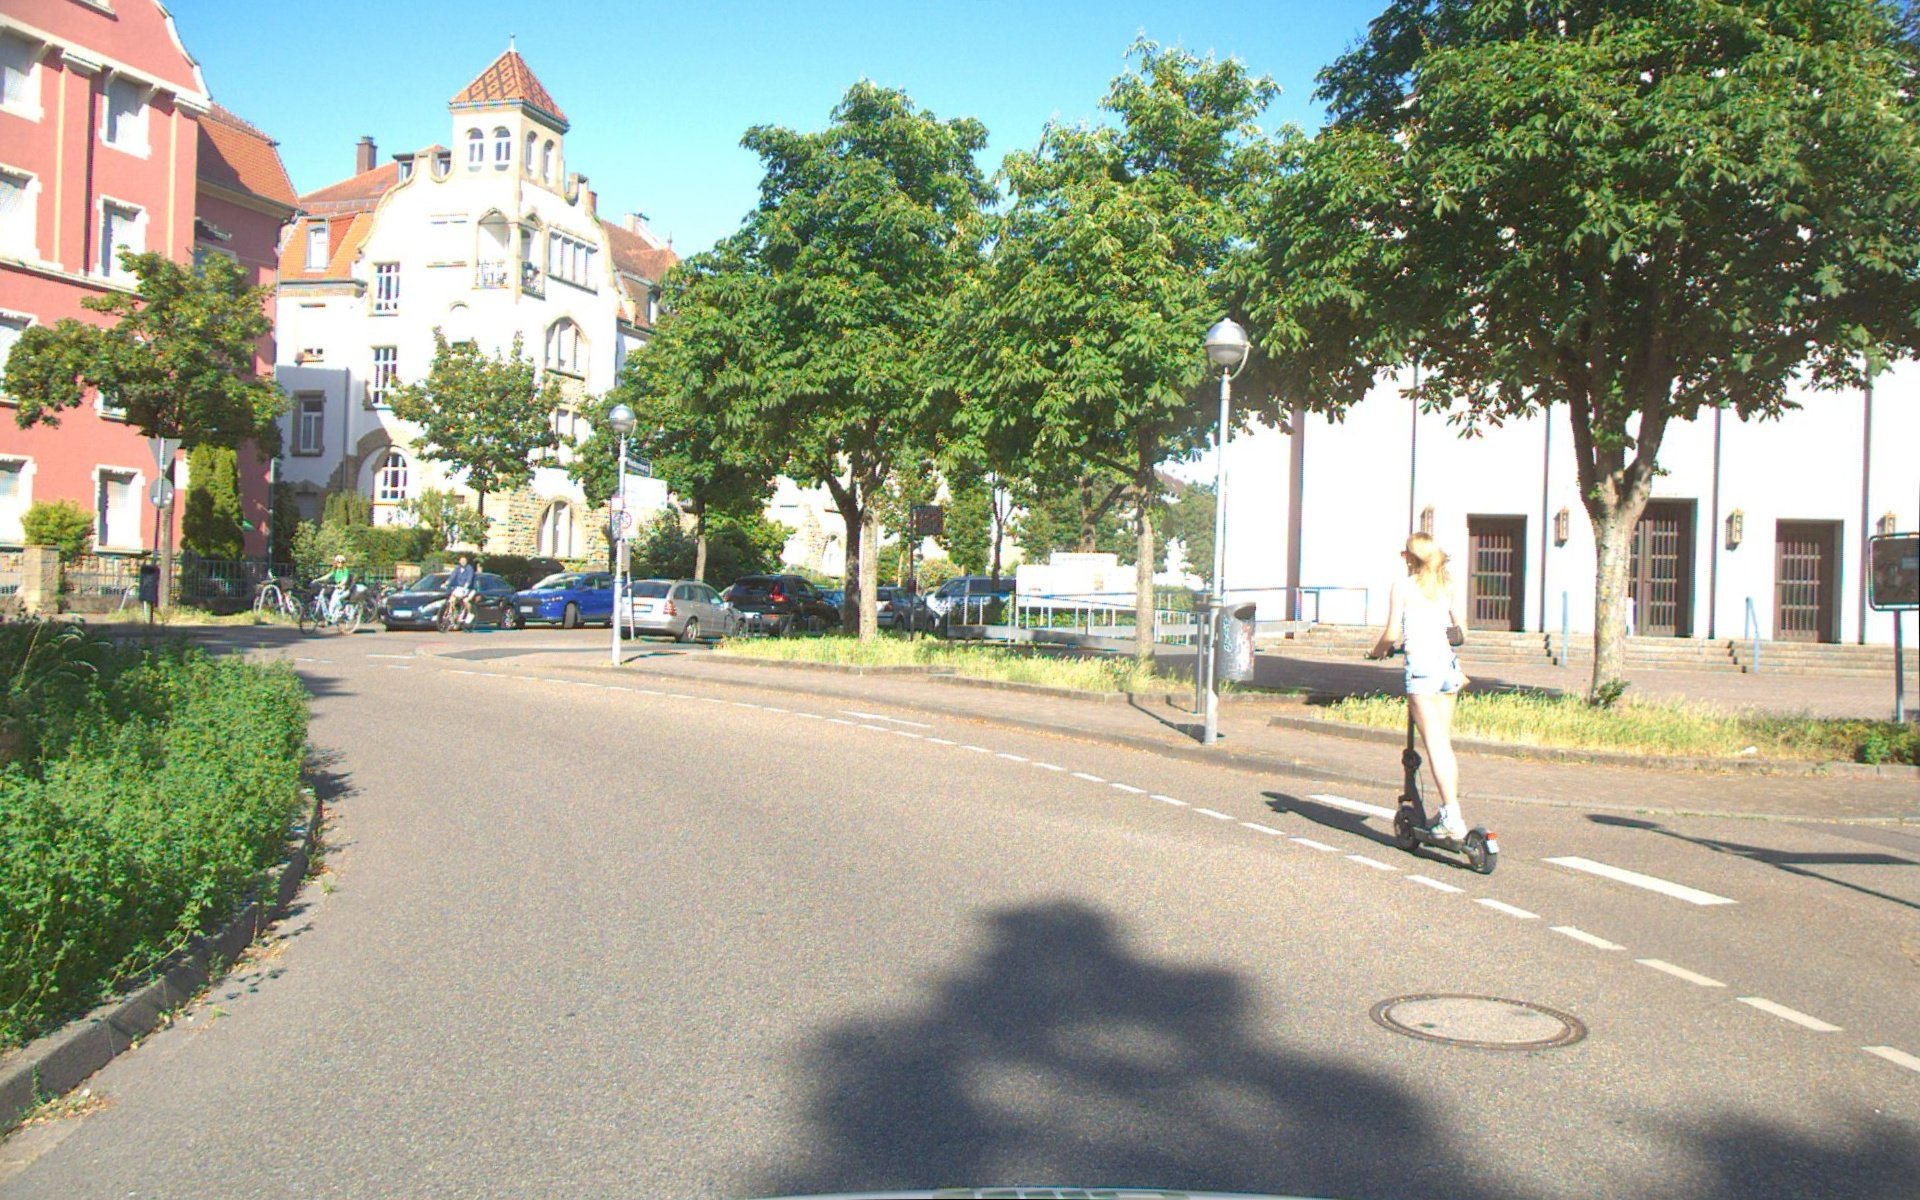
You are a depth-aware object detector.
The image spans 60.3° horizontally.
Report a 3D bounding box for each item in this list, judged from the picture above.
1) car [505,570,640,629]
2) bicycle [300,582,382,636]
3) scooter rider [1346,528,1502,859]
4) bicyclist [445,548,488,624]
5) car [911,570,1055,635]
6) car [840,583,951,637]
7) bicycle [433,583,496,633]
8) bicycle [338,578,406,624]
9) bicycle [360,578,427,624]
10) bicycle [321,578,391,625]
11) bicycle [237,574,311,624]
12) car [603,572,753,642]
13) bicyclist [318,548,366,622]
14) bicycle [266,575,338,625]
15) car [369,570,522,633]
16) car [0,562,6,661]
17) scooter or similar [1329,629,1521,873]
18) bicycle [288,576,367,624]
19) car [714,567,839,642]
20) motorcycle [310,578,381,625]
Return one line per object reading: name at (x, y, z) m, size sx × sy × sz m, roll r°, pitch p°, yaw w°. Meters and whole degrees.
car at (-11.099, -0.013, 47.636) m, size 1.766 × 1.589 × 4.401 m, roll -1°, pitch 0°, yaw 18°
bicycle at (-13.550, 0.194, 36.277) m, size 0.582 × 1.127 × 1.863 m, roll 1°, pitch 0°, yaw 21°
scooter rider at (2.703, 0.528, 9.673) m, size 0.612 × 1.864 × 0.630 m, roll 2°, pitch 0°, yaw -12°
bicyclist at (-11.467, -0.317, 38.462) m, size 0.630 × 1.744 × 0.723 m, roll 1°, pitch -1°, yaw 15°
car at (0.827, 0.068, 57.840) m, size 4.663 × 2.036 × 1.811 m, roll 3°, pitch 0°, yaw 14°
car at (-1.916, 0.306, 50.417) m, size 1.767 × 1.499 × 4.338 m, roll 2°, pitch 0°, yaw 21°
bicycle at (-11.499, 0.191, 38.439) m, size 0.630 × 1.127 × 1.718 m, roll 1°, pitch 0°, yaw 11°
bicycle at (-15.722, 0.033, 44.234) m, size 1.685 × 1.126 × 0.501 m, roll 4°, pitch 1°, yaw 15°
bicycle at (-15.449, 0.024, 45.104) m, size 1.685 × 1.126 × 0.516 m, roll 4°, pitch 1°, yaw 15°
bicycle at (-15.941, 0.032, 43.645) m, size 1.685 × 1.126 × 0.501 m, roll 3°, pitch 1°, yaw 12°
bicycle at (-16.878, -0.026, 40.689) m, size 1.686 × 1.134 × 0.546 m, roll 4°, pitch 1°, yaw 19°
car at (-6.374, 0.155, 37.863) m, size 1.765 × 1.440 × 4.342 m, roll 2°, pitch 0°, yaw 14°
bicyclist at (-13.548, -0.326, 36.274) m, size 0.582 × 1.609 × 0.804 m, roll 1°, pitch 0°, yaw 21°
bicycle at (-16.548, -0.002, 41.591) m, size 1.686 × 1.134 × 0.546 m, roll 4°, pitch 1°, yaw 19°
car at (-13.041, 0.030, 42.238) m, size 1.765 × 1.509 × 4.342 m, roll -1°, pitch 0°, yaw 13°
car at (-16.144, 0.132, 24.101) m, size 3.906 × 1.444 × 1.870 m, roll 1°, pitch 0°, yaw 22°
scooter or similar at (2.691, 0.844, 9.673) m, size 0.619 × 1.305 × 1.103 m, roll 2°, pitch 0°, yaw -12°
bicycle at (-16.223, 0.004, 42.422) m, size 1.786 × 1.126 × 0.501 m, roll 3°, pitch 1°, yaw 3°
car at (-4.643, 0.124, 42.570) m, size 1.765 × 1.758 × 4.342 m, roll 2°, pitch 0°, yaw 14°
motorcycle at (-16.000, 0.035, 43.086) m, size 1.685 × 1.126 × 0.501 m, roll 3°, pitch 1°, yaw 12°
